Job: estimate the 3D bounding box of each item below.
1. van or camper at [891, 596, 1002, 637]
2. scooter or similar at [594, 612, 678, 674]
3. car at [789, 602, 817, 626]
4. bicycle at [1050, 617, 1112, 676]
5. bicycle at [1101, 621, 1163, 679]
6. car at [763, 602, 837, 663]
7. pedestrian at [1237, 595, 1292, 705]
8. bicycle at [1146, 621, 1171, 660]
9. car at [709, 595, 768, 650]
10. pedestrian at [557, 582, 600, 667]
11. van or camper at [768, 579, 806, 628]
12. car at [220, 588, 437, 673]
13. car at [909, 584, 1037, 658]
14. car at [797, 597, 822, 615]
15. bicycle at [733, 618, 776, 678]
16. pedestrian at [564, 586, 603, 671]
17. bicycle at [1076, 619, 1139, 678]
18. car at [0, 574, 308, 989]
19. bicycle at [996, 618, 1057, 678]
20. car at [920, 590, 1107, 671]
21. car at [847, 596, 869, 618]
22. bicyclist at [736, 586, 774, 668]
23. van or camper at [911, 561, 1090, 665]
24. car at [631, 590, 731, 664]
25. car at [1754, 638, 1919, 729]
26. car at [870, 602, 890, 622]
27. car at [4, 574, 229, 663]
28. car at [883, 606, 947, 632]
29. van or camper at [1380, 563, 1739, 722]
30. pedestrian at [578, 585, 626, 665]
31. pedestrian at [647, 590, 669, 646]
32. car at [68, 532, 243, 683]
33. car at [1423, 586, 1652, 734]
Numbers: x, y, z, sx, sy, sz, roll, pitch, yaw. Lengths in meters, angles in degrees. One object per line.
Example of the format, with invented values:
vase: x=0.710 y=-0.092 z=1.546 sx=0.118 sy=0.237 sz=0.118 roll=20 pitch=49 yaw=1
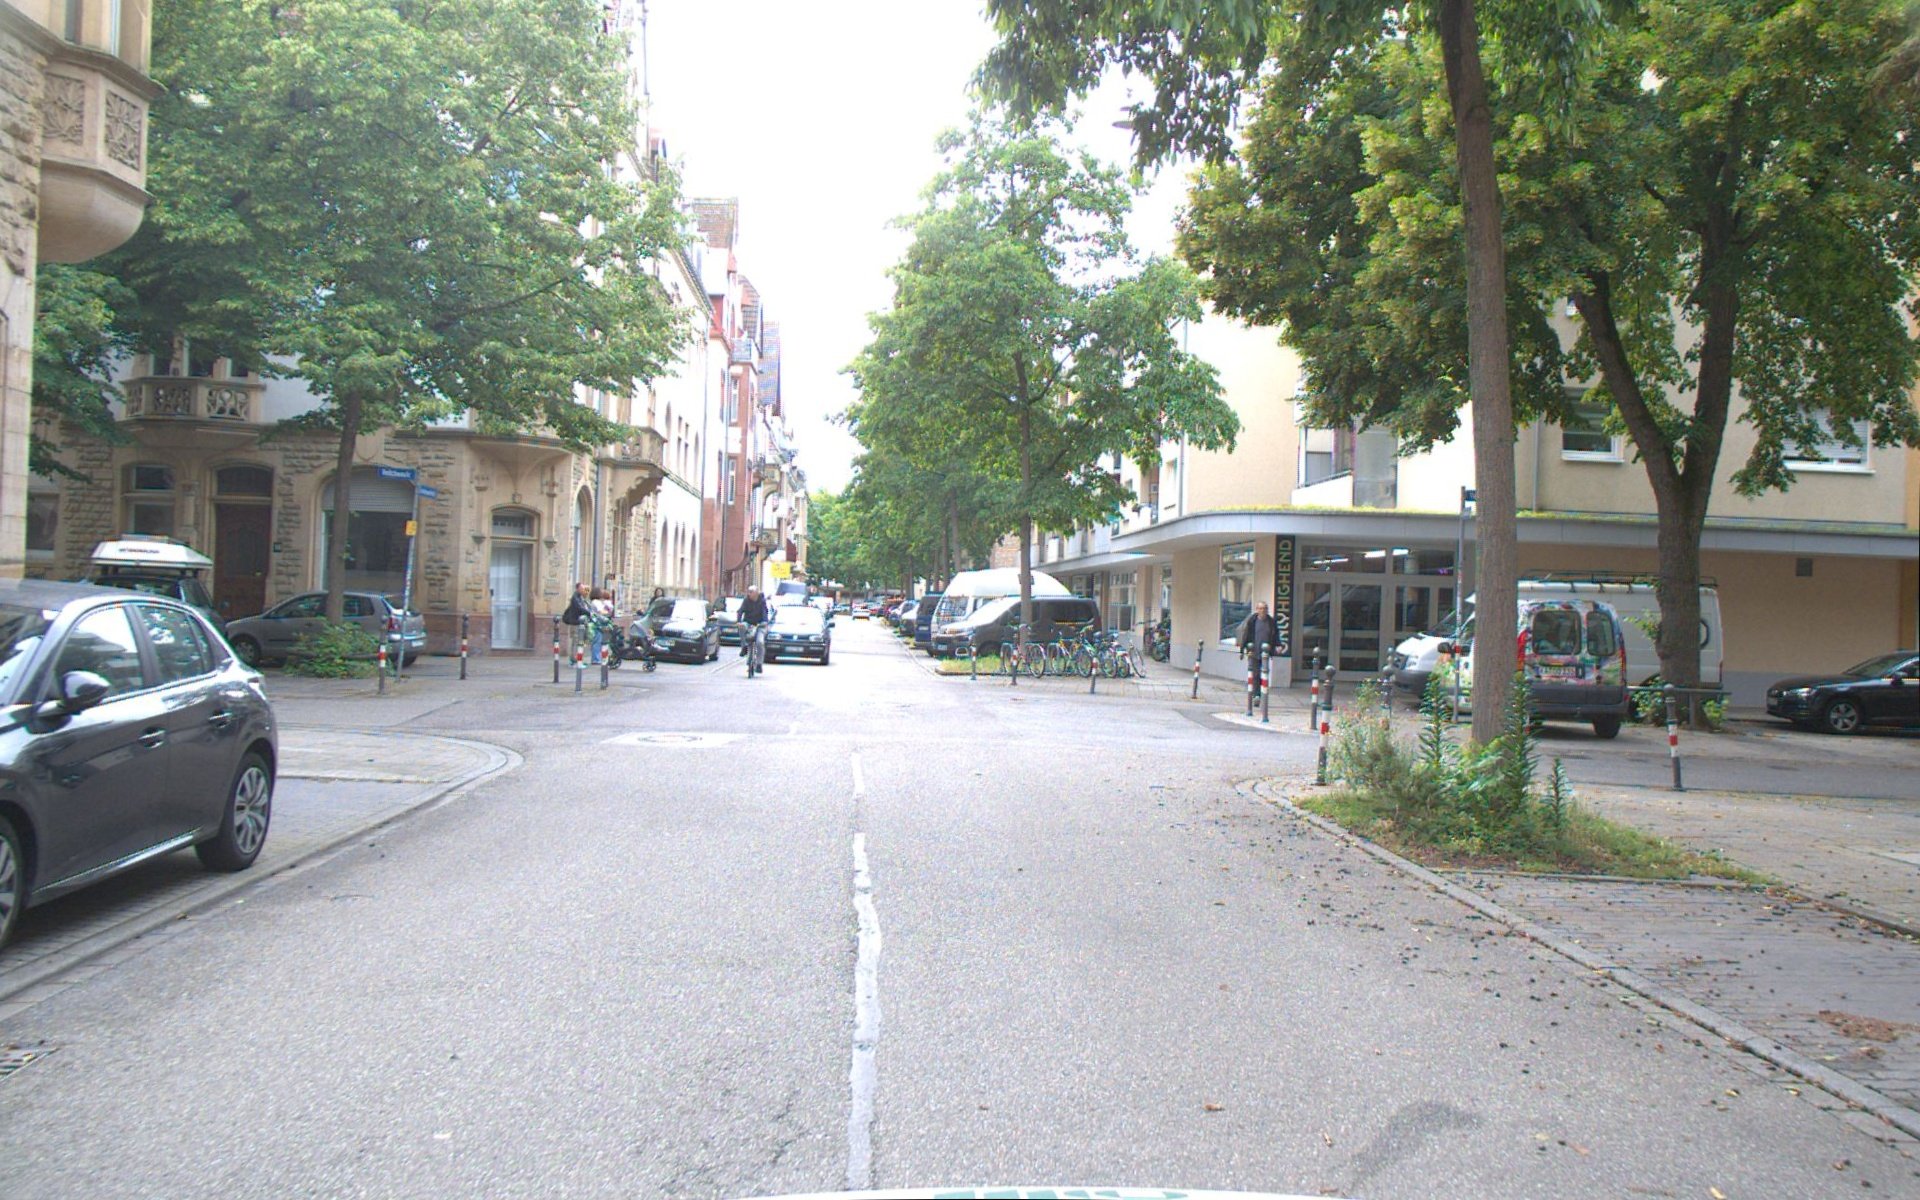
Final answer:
van or camper: x=-0.637 y=0.773 z=79.076 sx=4.955 sy=1.902 sz=2.104 roll=0 pitch=-1 yaw=-31
scooter or similar: x=-6.491 y=0.860 z=33.190 sx=1.438 sy=1.123 sz=0.676 roll=4 pitch=0 yaw=8
car: x=-10.924 y=0.974 z=115.113 sx=1.754 sy=1.506 sz=4.019 roll=3 pitch=-1 yaw=-4
bicycle: x=2.566 y=0.986 z=35.298 sx=0.541 sy=1.194 sz=1.715 roll=2 pitch=0 yaw=-25
bicycle: x=3.736 y=1.071 z=35.984 sx=0.541 sy=1.194 sz=1.684 roll=2 pitch=0 yaw=-25
car: x=-3.999 y=0.830 z=41.868 sx=1.674 sy=1.438 sz=3.849 roll=1 pitch=-1 yaw=-3
pedestrian: x=5.178 y=0.849 z=28.144 sx=0.763 sy=1.828 sz=0.509 roll=2 pitch=0 yaw=-2
bicycle: x=5.769 y=1.170 z=48.141 sx=0.475 sy=1.109 sz=1.700 roll=2 pitch=0 yaw=-1
car: x=-7.079 y=0.704 z=53.014 sx=1.614 sy=1.598 sz=2.954 roll=3 pitch=1 yaw=-4
pedestrian: x=-7.761 y=0.494 z=33.626 sx=0.603 sy=1.672 sz=0.604 roll=2 pitch=0 yaw=8
van or camper: x=-10.323 y=0.174 z=99.009 sx=1.968 sy=2.697 sz=5.313 roll=2 pitch=2 yaw=-3
car: x=-12.000 y=0.564 z=31.528 sx=3.493 sy=1.485 sz=1.651 roll=1 pitch=1 yaw=5
car: x=0.461 y=0.679 z=53.037 sx=2.024 sy=2.235 sz=4.385 roll=1 pitch=0 yaw=34
car: x=-12.580 y=0.495 z=138.250 sx=1.954 sy=1.501 sz=3.997 roll=2 pitch=0 yaw=-4
bicycle: x=-4.010 y=0.921 z=32.325 sx=0.621 sy=1.113 sz=1.798 roll=2 pitch=-1 yaw=-1
pedestrian: x=-7.517 y=0.566 z=33.029 sx=0.516 sy=1.672 sz=0.529 roll=3 pitch=-1 yaw=8
bicycle: x=3.169 y=1.029 z=35.644 sx=0.541 sy=1.194 sz=1.715 roll=2 pitch=0 yaw=-25
car: x=-4.392 y=0.645 z=7.158 sx=1.693 sy=1.459 sz=3.879 roll=3 pitch=0 yaw=-3
bicycle: x=1.394 y=1.003 z=34.786 sx=0.541 sy=1.194 sz=1.715 roll=2 pitch=0 yaw=-25
car: x=1.345 y=0.778 z=41.333 sx=4.283 sy=1.886 sz=1.893 roll=2 pitch=0 yaw=-29
car: x=-9.639 y=0.675 z=156.479 sx=1.954 sy=1.825 sz=3.997 roll=3 pitch=-2 yaw=-3
bicyclist: x=-3.995 y=0.527 z=32.287 sx=0.634 sy=1.565 sz=0.676 roll=1 pitch=-1 yaw=-1
van or camper: x=1.119 y=0.374 z=44.172 sx=4.545 sy=2.641 sz=1.887 roll=2 pitch=0 yaw=-36
car: x=-6.387 y=0.643 z=38.220 sx=1.675 sy=1.521 sz=3.998 roll=3 pitch=-2 yaw=-2
car: x=16.416 y=1.466 z=29.000 sx=4.079 sy=1.453 sz=1.908 roll=2 pitch=0 yaw=8
car: x=-8.830 y=1.345 z=182.461 sx=1.955 sy=2.048 sz=3.997 roll=5 pitch=-1 yaw=-4
car: x=-16.208 y=0.373 z=31.882 sx=3.417 sy=1.486 sz=1.650 roll=3 pitch=-2 yaw=5
car: x=-3.021 y=1.302 z=112.283 sx=3.976 sy=1.587 sz=1.862 roll=2 pitch=-1 yaw=-35
van or camper: x=10.662 y=0.702 z=29.824 sx=5.650 sy=2.537 sz=2.138 roll=2 pitch=3 yaw=4
pedestrian: x=-7.451 y=0.525 z=34.435 sx=0.619 sy=1.621 sz=0.667 roll=2 pitch=-1 yaw=37
pedestrian: x=-8.509 y=0.498 z=46.684 sx=0.505 sy=1.545 sz=0.546 roll=2 pitch=0 yaw=-3
car: x=-11.766 y=0.106 z=24.419 sx=1.800 sy=2.002 sz=3.940 roll=2 pitch=0 yaw=-19
car: x=7.984 y=0.780 z=23.269 sx=1.734 sy=1.851 sz=3.999 roll=2 pitch=0 yaw=-1
